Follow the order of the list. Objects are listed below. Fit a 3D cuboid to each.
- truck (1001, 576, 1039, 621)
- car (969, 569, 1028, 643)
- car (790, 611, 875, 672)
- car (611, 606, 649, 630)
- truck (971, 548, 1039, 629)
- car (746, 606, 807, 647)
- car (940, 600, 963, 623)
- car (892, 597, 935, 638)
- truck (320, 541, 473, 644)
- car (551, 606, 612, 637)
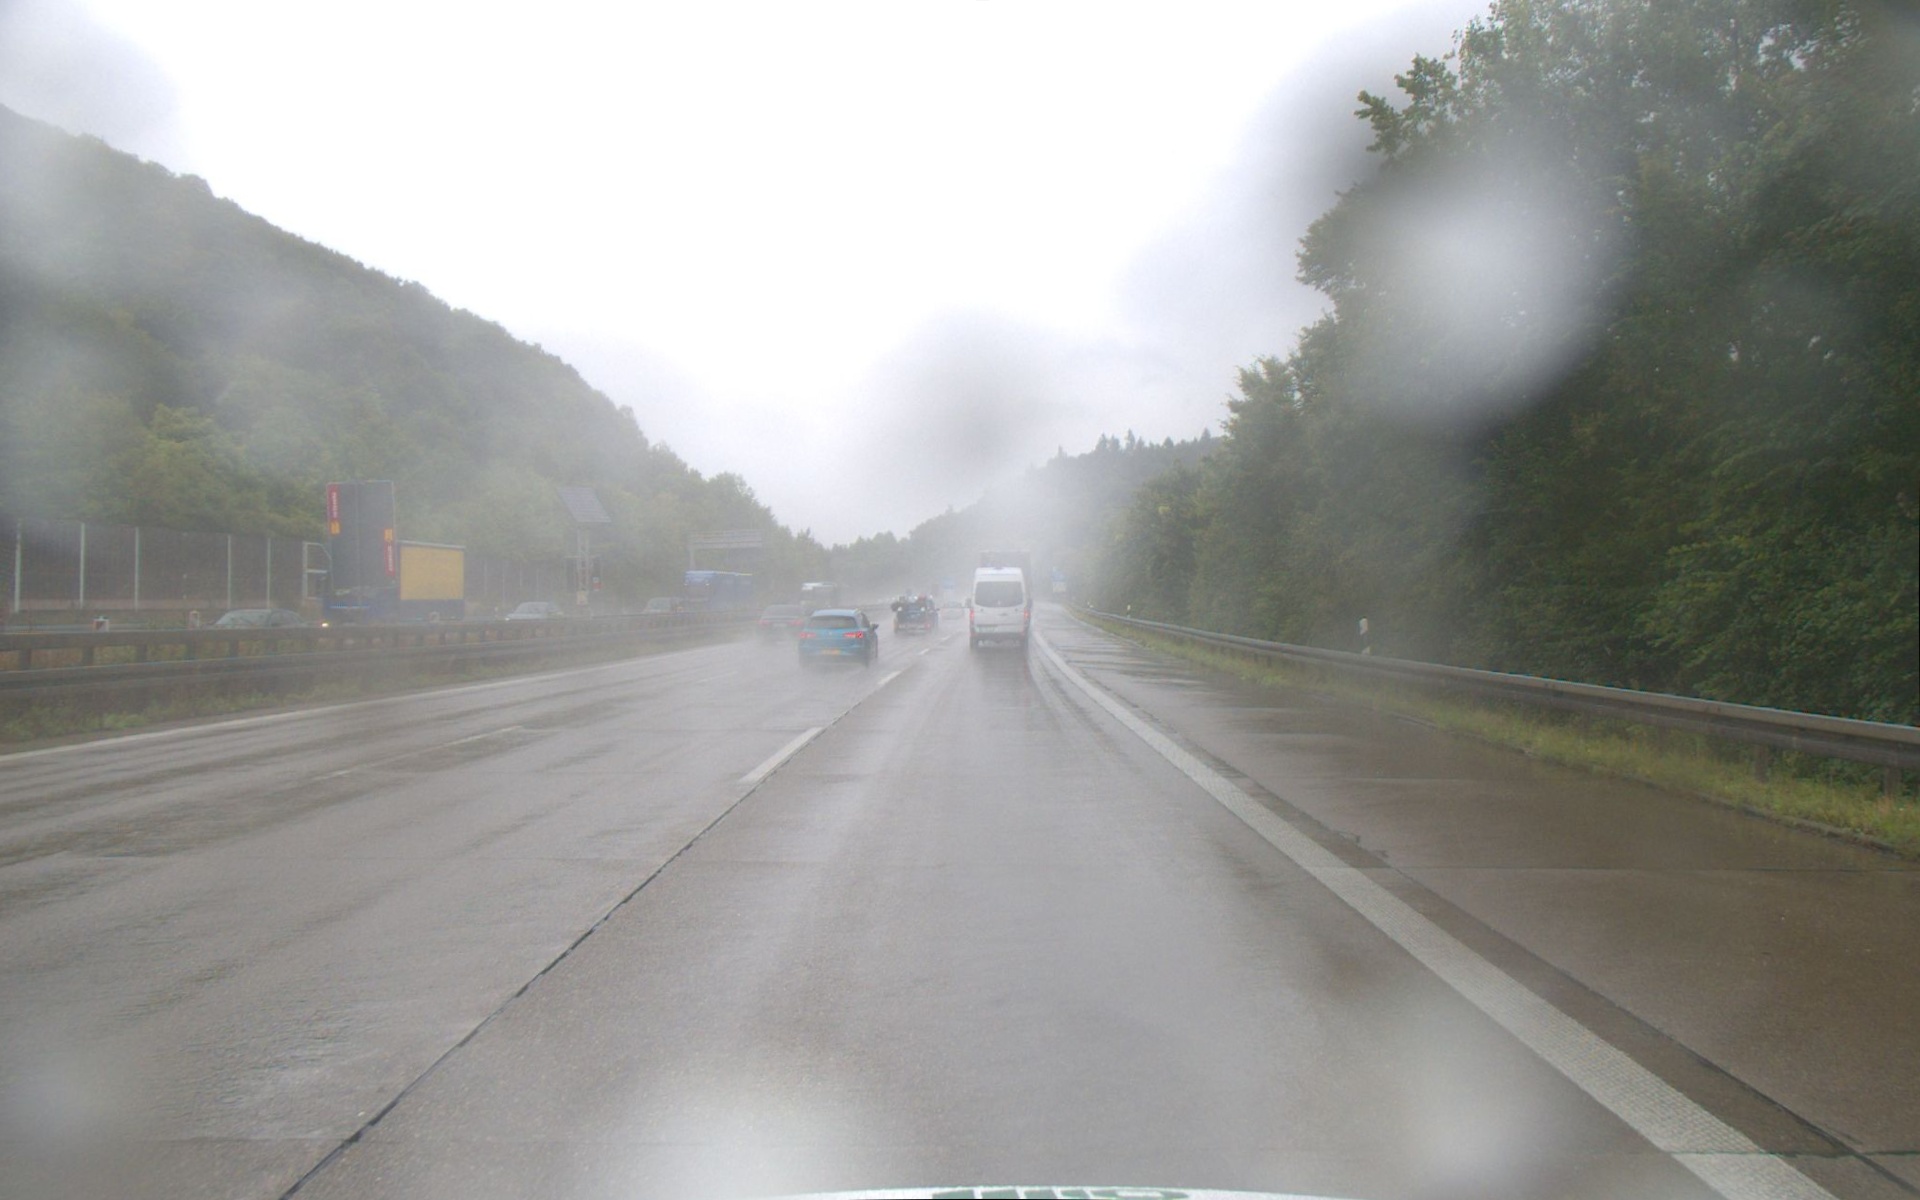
[{"bbox_3d":[5.653,-0.093,153.282,3.026,3.978,9.058,1,0,5],"label":"truck"},{"bbox_3d":[1.296,0.193,55.865,1.860,2.374,5.251,1,0,1],"label":"car"},{"bbox_3d":[-3.100,0.992,41.012,1.818,1.362,4.350,1,0,-1],"label":"car"},{"bbox_3d":[-23.455,1.245,117.533,1.953,1.691,3.999,0,0,-1],"label":"car"},{"bbox_3d":[2.374,-0.709,87.090,3.315,4.037,8.670,-1,2,2],"label":"truck"},{"bbox_3d":[-6.570,0.936,59.590,1.819,1.362,4.350,1,0,-2],"label":"car"},{"bbox_3d":[-0.627,0.819,121.331,1.581,1.656,4.189,1,0,1],"label":"car"},{"bbox_3d":[-2.171,0.804,78.170,1.830,1.841,4.189,1,0,1],"label":"car"},{"bbox_3d":[-22.254,-0.287,65.981,2.531,3.765,9.801,1,0,1],"label":"truck"},{"bbox_3d":[-17.545,0.961,76.878,1.716,1.362,4.425,1,0,1],"label":"car"}]
